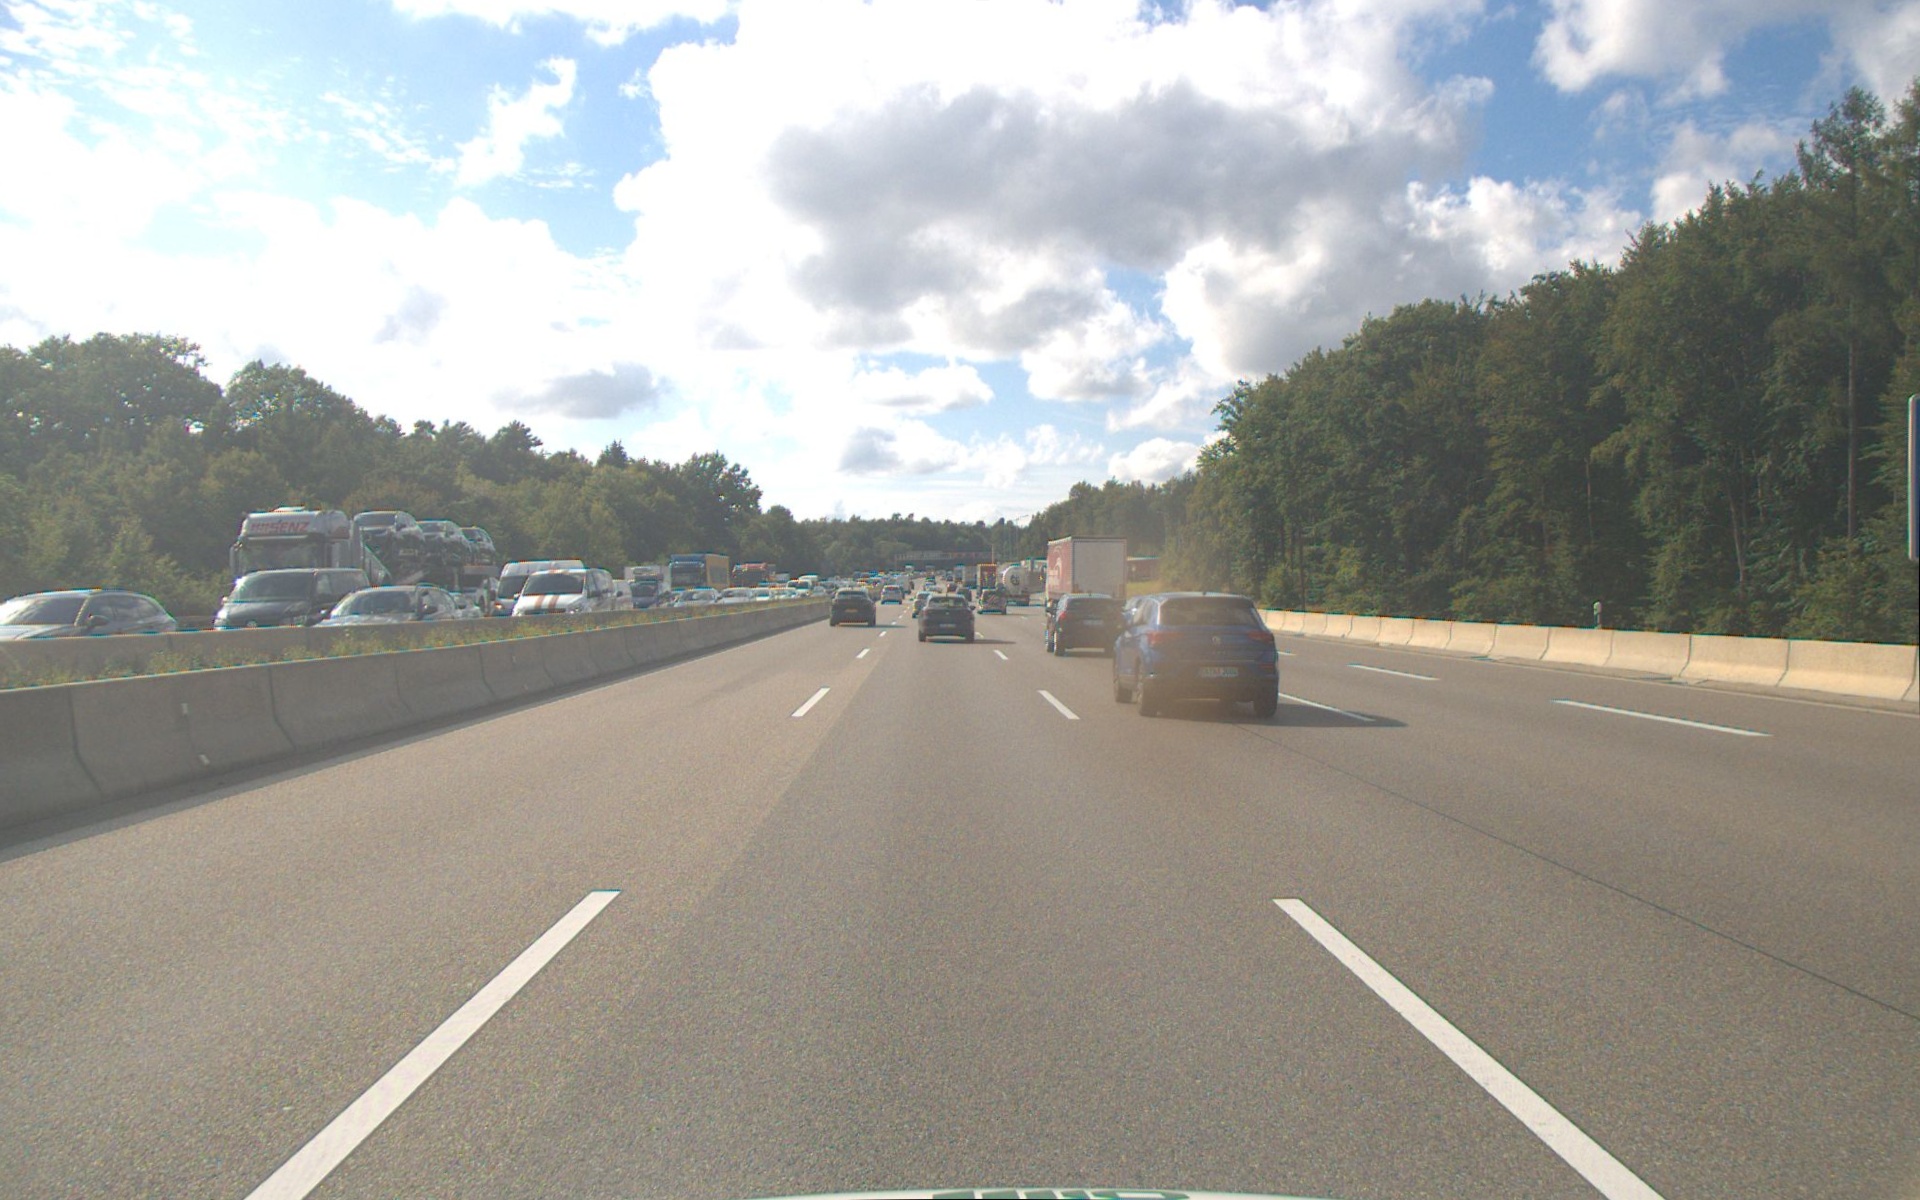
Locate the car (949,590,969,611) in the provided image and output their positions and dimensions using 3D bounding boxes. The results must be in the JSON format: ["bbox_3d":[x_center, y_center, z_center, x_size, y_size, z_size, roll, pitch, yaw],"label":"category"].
[{"bbox_3d":[-0.112,0.060,172.159,1.953,2.049,3.999,1,0,-1],"label":"car"}]

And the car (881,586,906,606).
[{"bbox_3d":[-6.001,-0.348,149.849,2.111,1.807,3.999,1,0,-1],"label":"car"}]

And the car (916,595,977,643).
[{"bbox_3d":[-0.453,0.571,51.614,1.699,1.389,3.997,1,0,-3],"label":"car"}]

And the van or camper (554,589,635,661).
[{"bbox_3d":[-14.681,0.987,66.809,2.003,2.758,5.749,1,-1,-1],"label":"van or camper"}]

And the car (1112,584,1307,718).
[{"bbox_3d":[3.238,0.616,22.338,1.885,1.568,4.645,2,0,0],"label":"car"}]

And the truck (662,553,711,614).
[{"bbox_3d":[-19.480,-1.113,117.964,2.681,4.221,5.614,1,-1,-2],"label":"truck"}]

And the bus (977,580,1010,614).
[{"bbox_3d":[2.094,-0.162,105.372,1.953,2.049,3.999,1,-1,-1],"label":"bus"}]

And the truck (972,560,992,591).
[{"bbox_3d":[2.746,-3.036,210.987,2.310,3.635,11.265,1,-1,0],"label":"truck"}]

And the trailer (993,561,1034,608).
[{"bbox_3d":[4.827,-1.344,150.455,2.975,4.086,12.241,0,0,-2],"label":"trailer"}]

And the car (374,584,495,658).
[{"bbox_3d":[-14.252,0.547,45.129,1.872,1.908,4.696,0,0,-1],"label":"car"}]

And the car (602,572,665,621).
[{"bbox_3d":[-14.183,-0.103,72.116,1.953,2.049,4.655,1,-1,-2],"label":"car"}]

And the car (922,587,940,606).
[{"bbox_3d":[-3.279,-0.363,187.335,1.953,2.049,3.999,-1,-1,-1],"label":"car"}]

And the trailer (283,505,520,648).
[{"bbox_3d":[-18.107,-0.564,55.366,2.773,4.044,16.000,1,-1,-1],"label":"trailer"}]

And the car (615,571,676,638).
[{"bbox_3d":[-14.954,0.194,78.903,1.953,3.015,5.401,2,0,-2],"label":"car"}]

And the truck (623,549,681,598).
[{"bbox_3d":[-19.239,-1.631,103.609,2.281,2.850,7.947,2,0,-2],"label":"truck"}]

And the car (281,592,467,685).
[{"bbox_3d":[-9.574,0.595,27.331,1.661,1.396,3.999,-1,0,0],"label":"car"}]

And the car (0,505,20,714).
[{"bbox_3d":[-9.392,0.073,12.649,2.044,1.833,4.178,1,0,-1],"label":"car"}]

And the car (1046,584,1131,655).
[{"bbox_3d":[3.180,0.468,41.665,1.763,1.673,3.999,1,0,-1],"label":"car"}]

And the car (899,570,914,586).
[{"bbox_3d":[-7.172,-2.980,221.802,1.953,2.049,3.999,1,0,-1],"label":"car"}]

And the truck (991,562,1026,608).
[{"bbox_3d":[4.639,-1.396,158.184,2.984,4.233,7.125,0,0,-1],"label":"truck"}]

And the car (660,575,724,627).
[{"bbox_3d":[-10.913,0.072,67.656,1.953,2.049,4.408,0,-1,-1],"label":"car"}]

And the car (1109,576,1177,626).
[{"bbox_3d":[5.915,0.027,53.841,1.680,1.537,4.301,-1,0,-1],"label":"car"}]

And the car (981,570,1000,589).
[{"bbox_3d":[3.439,-2.276,184.857,1.953,2.049,3.999,1,-1,-1],"label":"car"}]

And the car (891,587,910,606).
[{"bbox_3d":[-6.621,-0.359,184.064,1.953,2.049,3.999,1,0,-1],"label":"car"}]

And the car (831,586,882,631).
[{"bbox_3d":[-4.405,0.344,70.627,1.953,1.807,3.999,1,0,-1],"label":"car"}]

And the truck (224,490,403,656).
[{"bbox_3d":[-17.886,-0.715,46.166,2.795,4.308,5.711,1,0,-1],"label":"truck"}]

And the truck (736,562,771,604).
[{"bbox_3d":[-20.428,-1.711,163.933,2.720,4.007,6.850,1,1,-2],"label":"truck"}]

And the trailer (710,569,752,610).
[{"bbox_3d":[-24.659,-1.190,178.589,2.752,4.191,14.040,1,1,-1],"label":"trailer"}]

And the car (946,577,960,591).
[{"bbox_3d":[-1.024,-2.438,249.019,1.953,2.049,3.999,1,0,-1],"label":"car"}]

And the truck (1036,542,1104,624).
[{"bbox_3d":[5.784,-0.824,87.607,3.018,4.135,6.067,1,-1,-1],"label":"truck"}]

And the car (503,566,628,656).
[{"bbox_3d":[-10.056,0.307,42.587,1.953,2.137,5.277,1,-1,-1],"label":"car"}]

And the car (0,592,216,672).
[{"bbox_3d":[-13.230,0.465,25.207,1.607,1.096,4.883,1,-1,-1],"label":"car"}]

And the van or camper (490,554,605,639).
[{"bbox_3d":[-14.220,-0.067,57.488,2.342,2.758,6.630,1,-1,-1],"label":"van or camper"}]

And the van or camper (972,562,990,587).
[{"bbox_3d":[2.765,-3.353,218.218,2.303,3.199,5.710,1,-1,0],"label":"van or camper"}]

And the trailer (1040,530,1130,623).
[{"bbox_3d":[5.924,-0.948,80.786,2.977,4.106,13.885,1,-1,-1],"label":"trailer"}]
